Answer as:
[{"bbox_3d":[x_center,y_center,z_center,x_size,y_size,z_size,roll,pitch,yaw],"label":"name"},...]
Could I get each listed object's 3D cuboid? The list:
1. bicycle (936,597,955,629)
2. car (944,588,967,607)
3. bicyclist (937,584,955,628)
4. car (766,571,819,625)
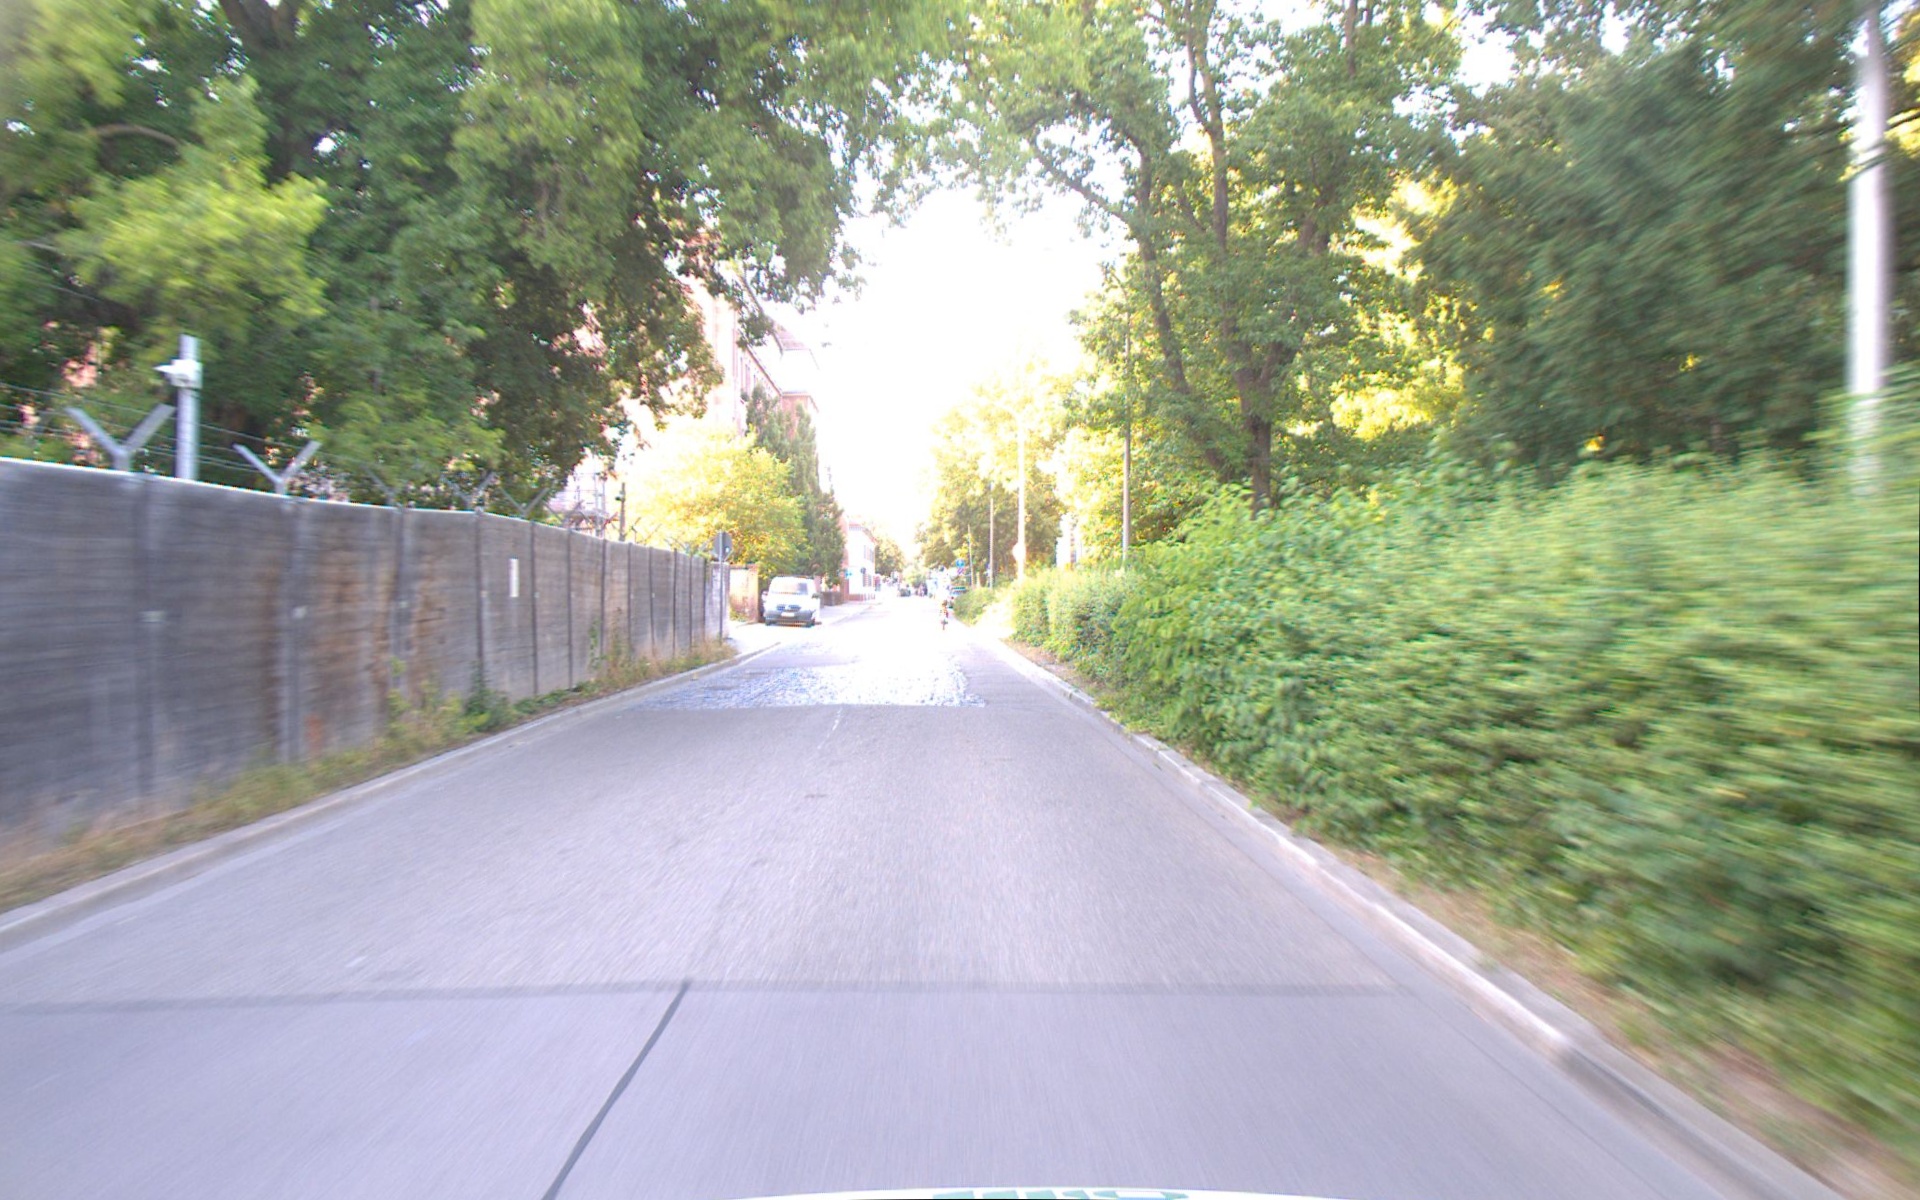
[{"bbox_3d":[-0.561,0.512,64.142,0.625,1.214,1.875,1,0,-3],"label":"bicycle"},{"bbox_3d":[-0.368,-0.208,140.197,1.681,1.564,4.046,-1,0,-3],"label":"car"},{"bbox_3d":[-0.558,0.221,64.175,0.626,1.696,0.842,1,0,-3],"label":"bicyclist"},{"bbox_3d":[-6.691,-0.052,66.552,1.845,2.049,5.222,1,-1,-3],"label":"car"}]
